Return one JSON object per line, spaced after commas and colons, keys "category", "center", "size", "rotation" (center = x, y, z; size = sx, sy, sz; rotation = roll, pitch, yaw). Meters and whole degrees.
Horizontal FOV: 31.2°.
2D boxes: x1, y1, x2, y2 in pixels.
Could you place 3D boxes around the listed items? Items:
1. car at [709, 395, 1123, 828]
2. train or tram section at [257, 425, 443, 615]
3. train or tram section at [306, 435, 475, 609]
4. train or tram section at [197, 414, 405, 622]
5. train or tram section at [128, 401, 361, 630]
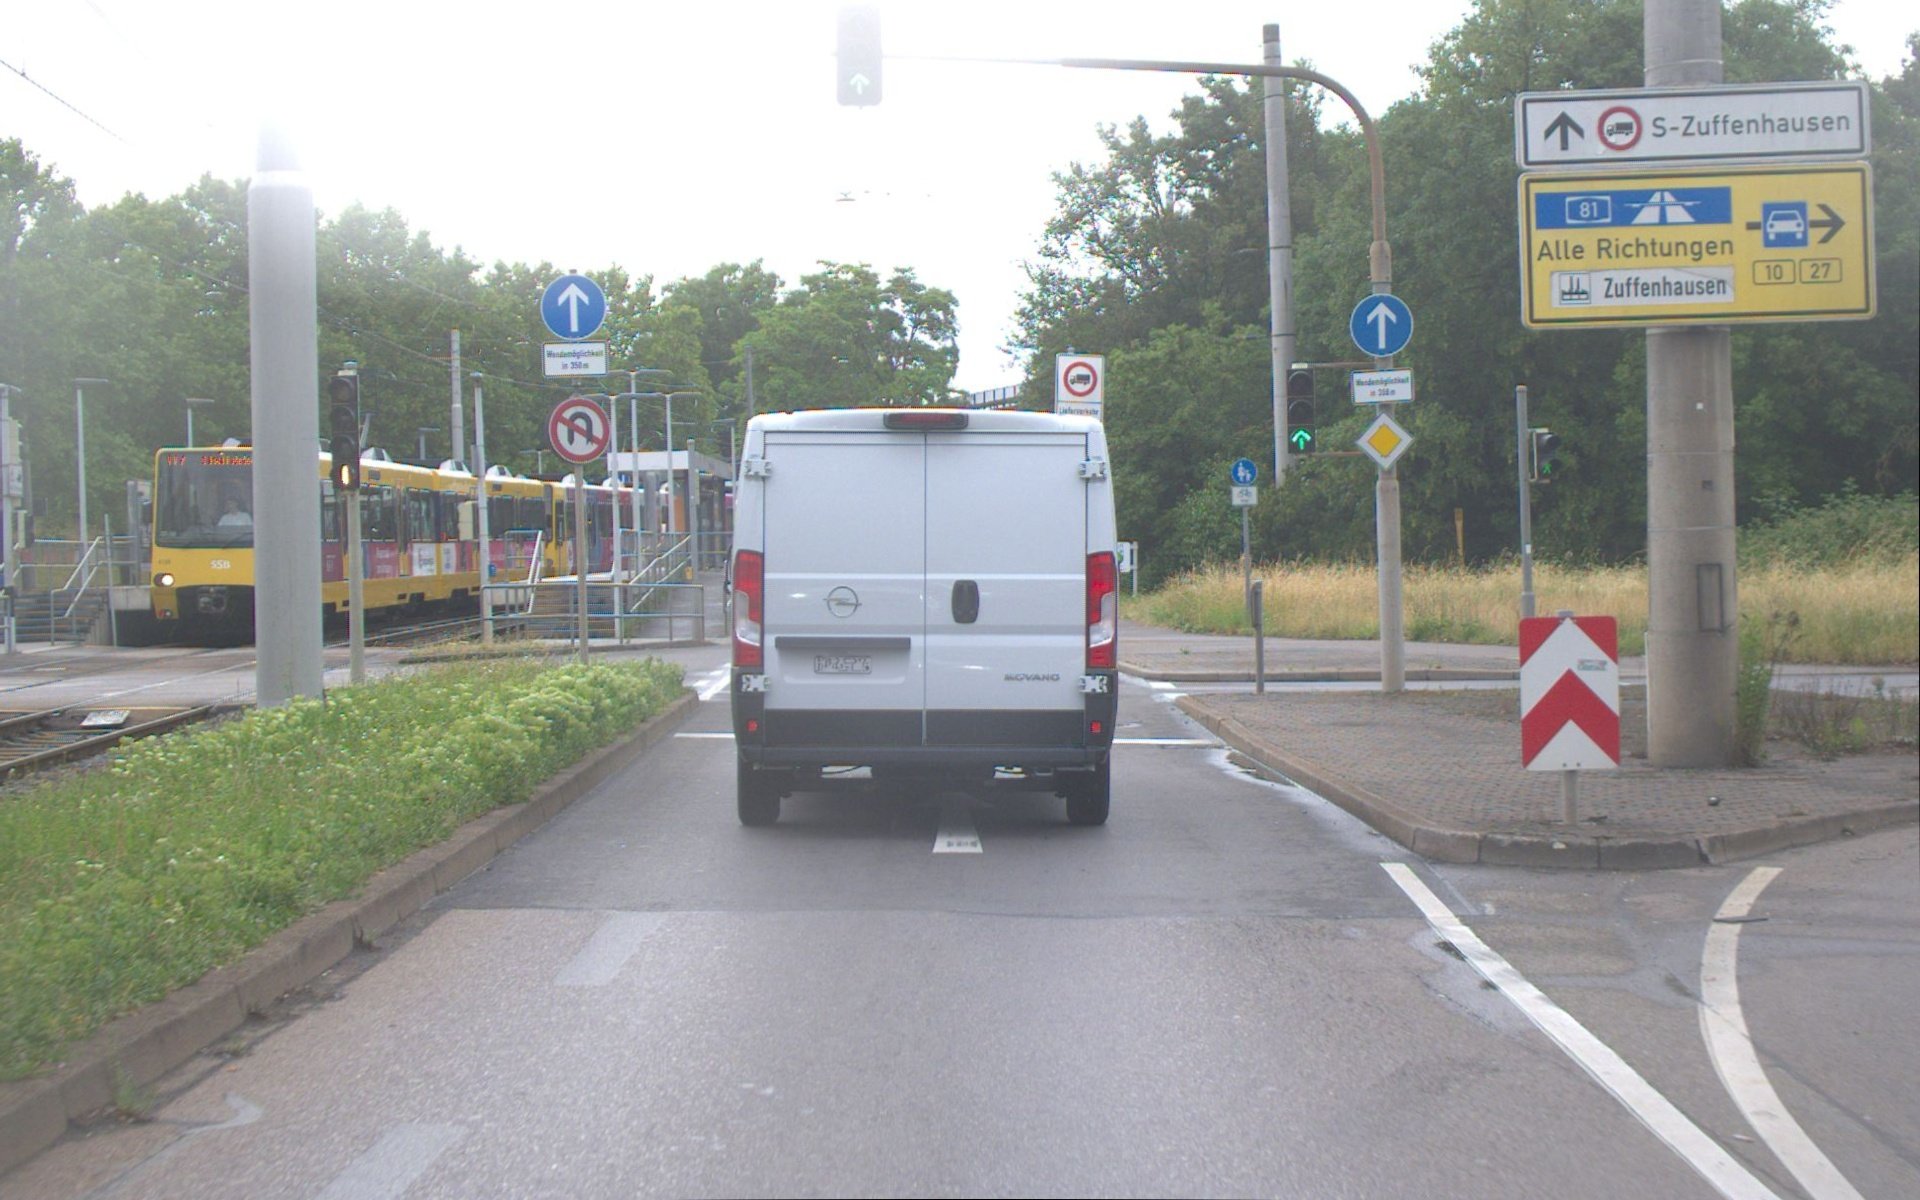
{"category": "car", "center": [-0.356, -0.002, 20.056], "size": [2.090, 2.189, 5.062], "rotation": [1, 1, -3]}
{"category": "train or tram section", "center": [-13.332, -1.731, 75.622], "size": [2.928, 3.919, 7.006], "rotation": [1, 1, -1]}
{"category": "train or tram section", "center": [-13.470, -1.834, 81.843], "size": [2.928, 3.919, 7.006], "rotation": [1, 1, -1]}
{"category": "train or tram section", "center": [-13.189, -1.626, 69.378], "size": [2.928, 3.919, 7.006], "rotation": [1, 1, -1]}
{"category": "train or tram section", "center": [-13.057, -1.525, 63.304], "size": [2.928, 3.919, 7.006], "rotation": [1, 1, -1]}
